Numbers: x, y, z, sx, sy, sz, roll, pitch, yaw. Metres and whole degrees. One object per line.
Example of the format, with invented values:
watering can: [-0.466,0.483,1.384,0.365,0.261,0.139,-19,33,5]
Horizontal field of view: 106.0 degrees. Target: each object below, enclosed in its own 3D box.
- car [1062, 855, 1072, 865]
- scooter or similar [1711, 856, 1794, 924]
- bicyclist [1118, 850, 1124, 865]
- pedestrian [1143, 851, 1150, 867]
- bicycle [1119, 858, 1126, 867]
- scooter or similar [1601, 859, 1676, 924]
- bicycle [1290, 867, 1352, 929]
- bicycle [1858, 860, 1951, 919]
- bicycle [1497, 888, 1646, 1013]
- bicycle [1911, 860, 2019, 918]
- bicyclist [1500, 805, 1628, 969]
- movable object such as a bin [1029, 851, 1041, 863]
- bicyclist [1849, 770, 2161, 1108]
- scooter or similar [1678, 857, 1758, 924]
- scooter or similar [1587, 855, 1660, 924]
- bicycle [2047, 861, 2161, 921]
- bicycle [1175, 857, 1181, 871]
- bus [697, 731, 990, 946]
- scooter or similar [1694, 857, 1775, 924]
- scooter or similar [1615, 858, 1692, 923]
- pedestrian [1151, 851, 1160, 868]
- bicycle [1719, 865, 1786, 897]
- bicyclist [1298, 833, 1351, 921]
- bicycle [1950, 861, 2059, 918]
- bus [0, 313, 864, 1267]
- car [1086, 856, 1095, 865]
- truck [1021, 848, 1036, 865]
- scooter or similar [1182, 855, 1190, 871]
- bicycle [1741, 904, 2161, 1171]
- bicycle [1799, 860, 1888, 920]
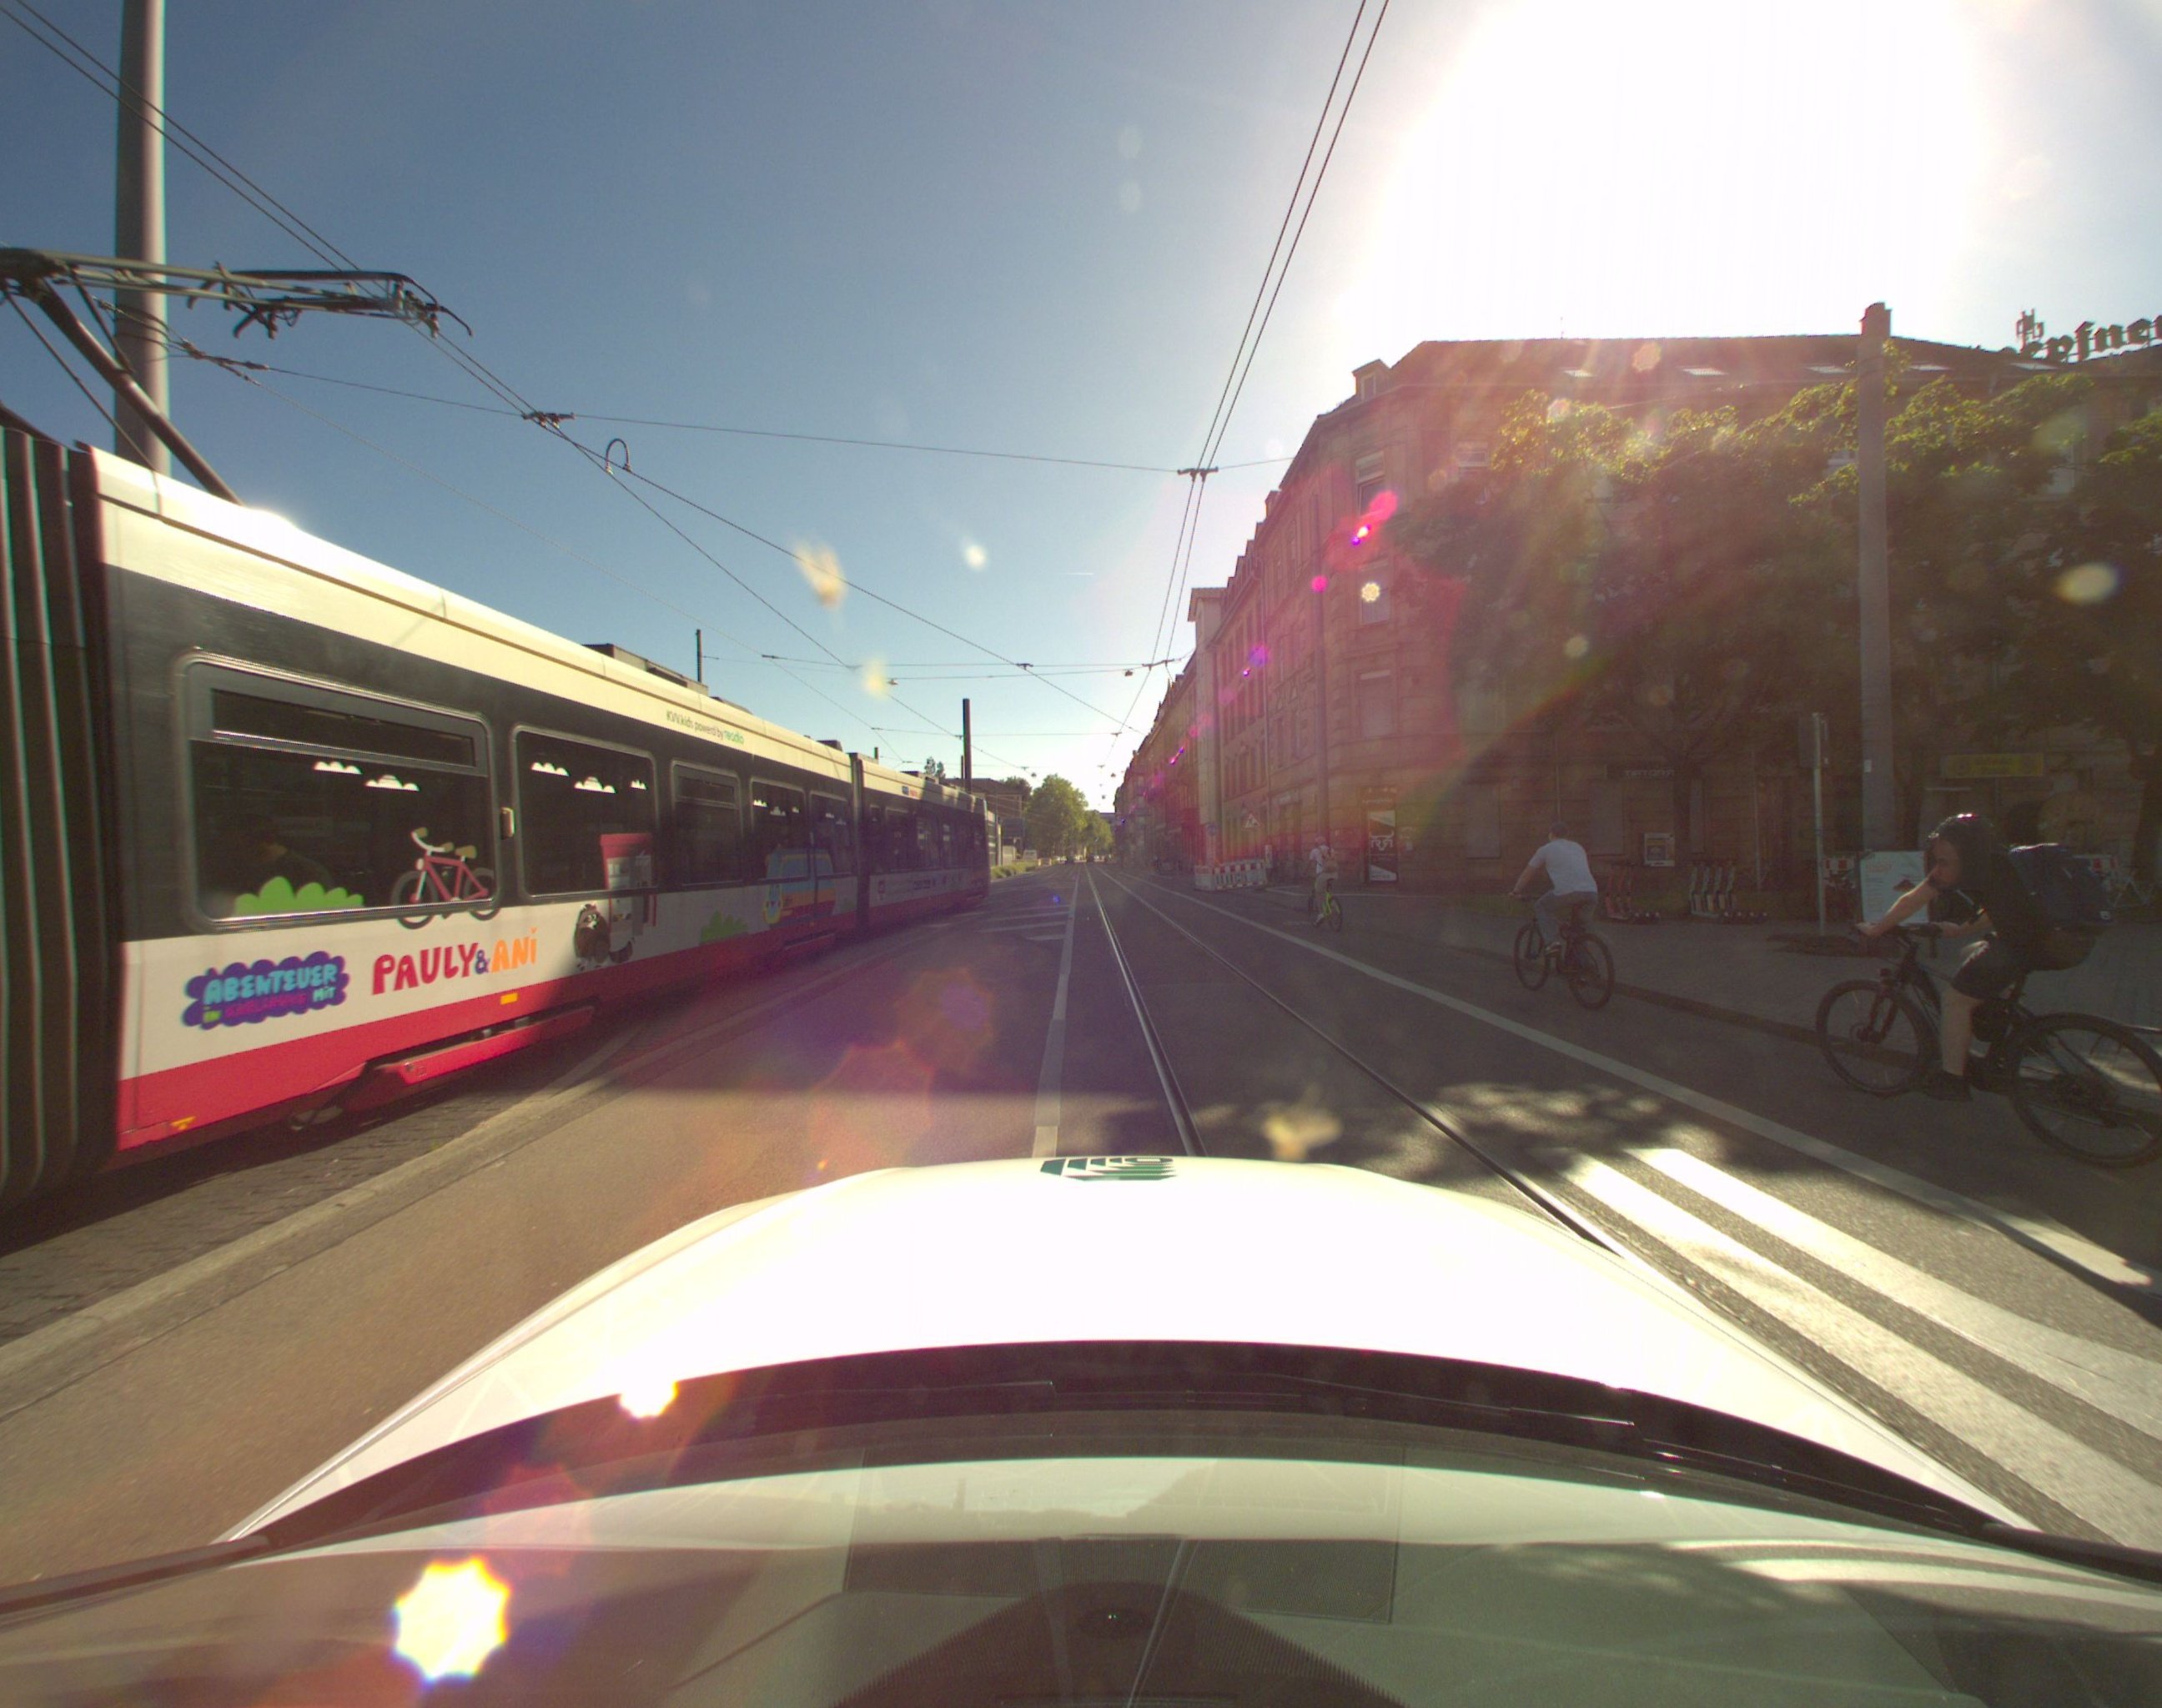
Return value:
car: [-2.699,1.160,155.757,1.752,1.697,4.144,0,-1,1]
scooter or similar: [12.458,0.642,15.157,0.269,1.196,1.565,0,-1,1]
bicyclist: [4.667,0.449,94.420,0.665,1.697,1.043,0,-1,0]
pedestrian: [6.901,0.544,85.855,0.550,1.701,0.474,-3,-1,6]
bicycle: [4.808,0.988,94.330,0.679,1.114,2.706,0,-1,0]
scooter or similar: [10.504,0.676,15.405,0.269,1.157,1.703,0,-1,1]
bicycle: [4.770,0.841,16.290,0.530,1.117,1.931,1,0,-4]
bicycle: [15.573,0.658,15.435,0.402,1.061,1.352,0,-1,1]
bicycle: [4.985,0.925,8.420,0.385,1.069,1.934,-1,0,1]
bicycle: [16.674,0.641,15.402,0.404,1.061,1.345,1,-1,-15]
bicyclist: [4.954,0.321,8.412,0.779,1.593,0.886,-1,-1,1]
movable object such as a bin: [-9.603,0.626,171.429,2.489,2.645,5.983,0,0,-3]
bicyclist: [4.967,0.412,4.425,0.623,1.613,0.978,1,-1,-9]
scooter or similar: [11.812,0.653,15.150,0.269,1.185,1.565,0,-1,1]
scooter or similar: [10.210,0.645,15.372,0.269,1.219,1.703,0,-1,1]
bicycle: [19.209,0.665,15.256,0.402,1.061,1.459,1,-1,-6]
bicycle: [8.315,0.846,69.764,0.408,1.121,1.900,-3,-1,4]
bus: [-4.659,-0.242,19.378,2.828,3.589,11.284,-1,0,4]
scooter or similar: [12.127,0.656,15.162,0.269,1.185,1.565,0,-1,1]
scooter or similar: [10.808,0.667,15.431,0.269,1.163,1.703,0,-1,1]
pedestrian: [7.562,0.562,82.497,0.795,1.605,0.652,-1,-1,2]
bicycle: [17.965,0.715,21.801,1.410,0.856,0.405,0,-1,7]
bicyclist: [4.819,0.448,16.160,0.679,1.683,1.119,0,-1,-3]
bicycle: [18.032,0.677,15.940,0.402,1.061,1.460,0,-1,-4]
bus: [-5.173,-0.218,8.418,2.831,3.589,10.726,-1,0,1]
car: [2.173,1.554,184.663,1.987,2.014,4.000,0,-1,1]
truck: [-8.969,0.387,140.372,2.533,2.830,6.367,0,-1,-4]
scooter or similar: [8.188,0.705,63.659,0.405,1.211,1.480,-3,-1,1]
bicycle: [4.901,0.888,4.674,0.530,1.117,1.931,-1,-1,-3]
bicycle: [14.335,0.655,15.353,0.401,1.061,1.485,0,-1,5]
